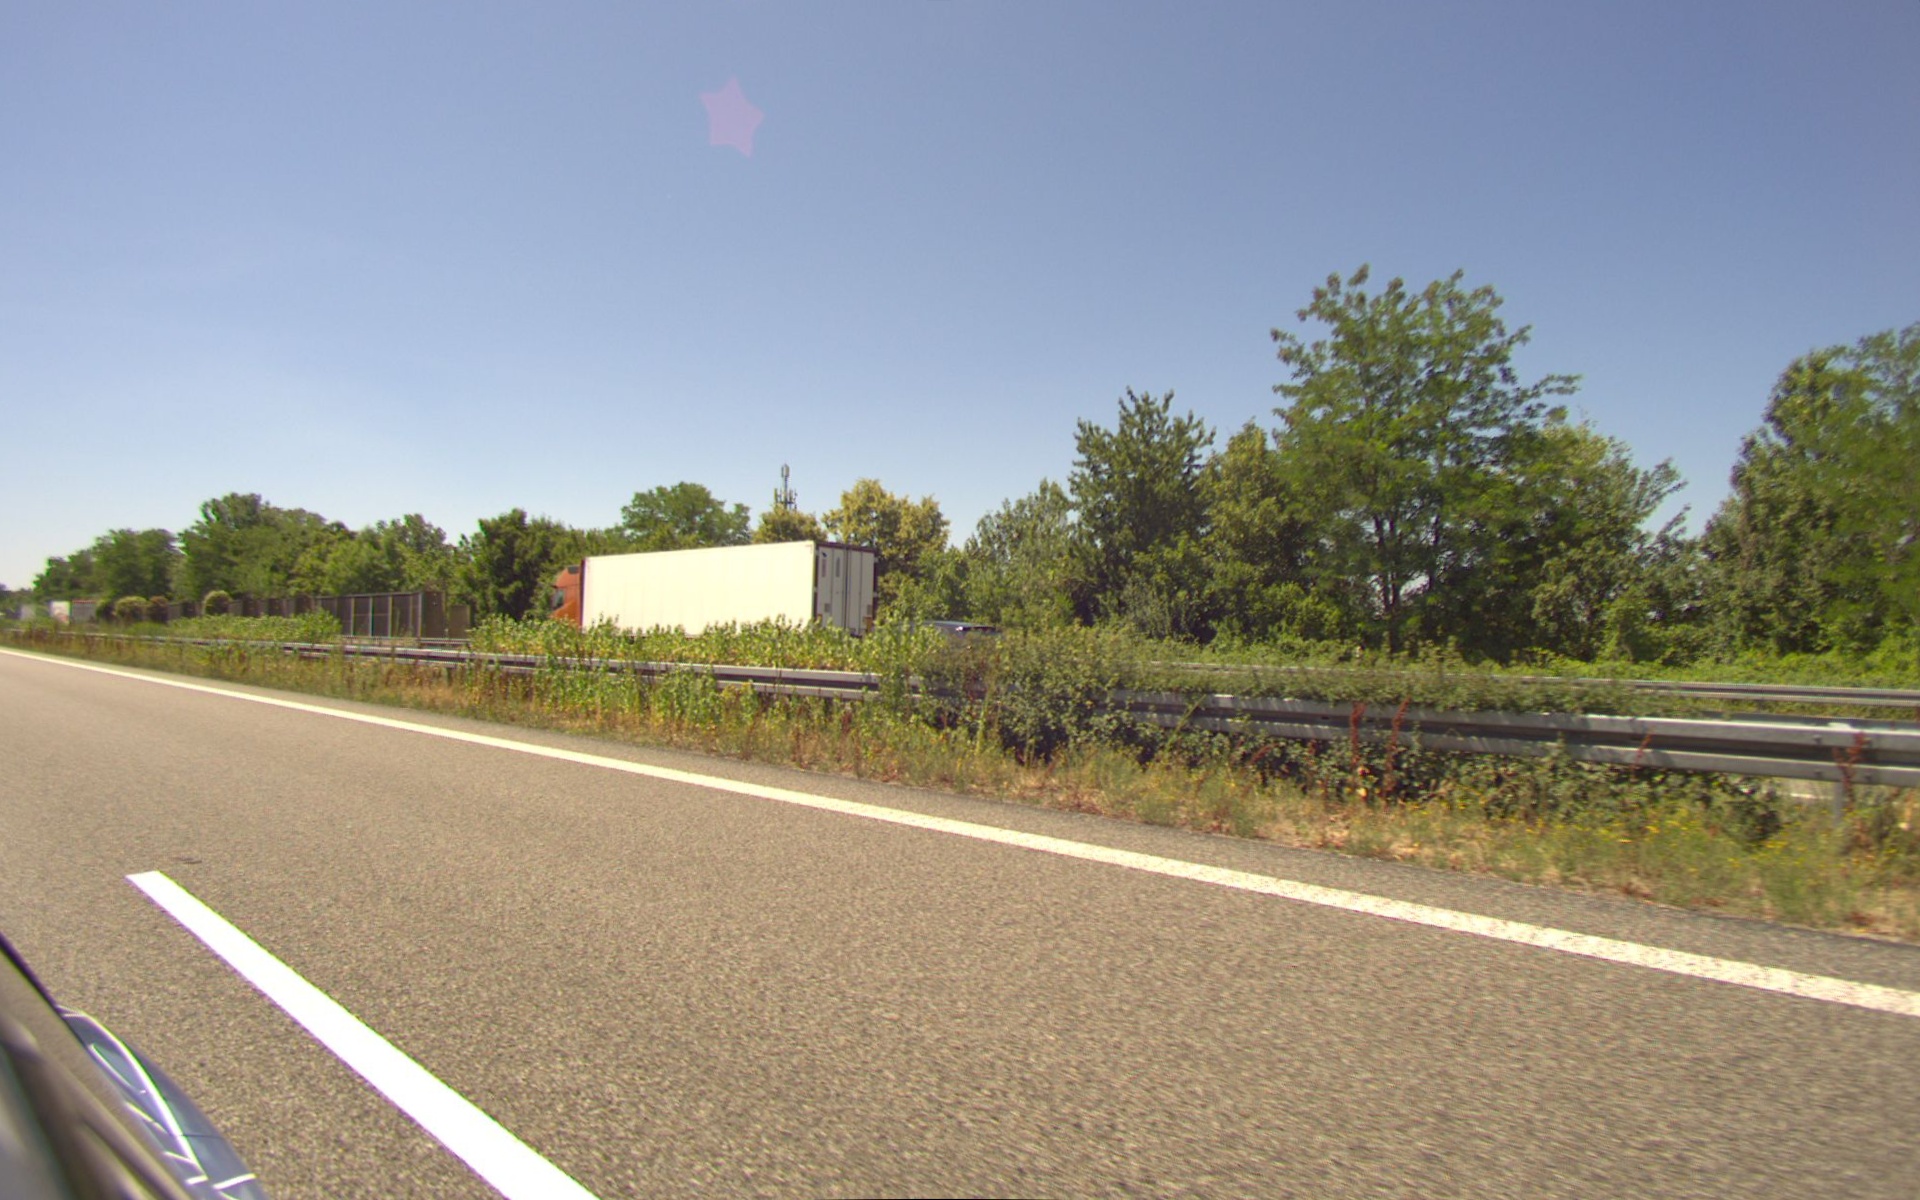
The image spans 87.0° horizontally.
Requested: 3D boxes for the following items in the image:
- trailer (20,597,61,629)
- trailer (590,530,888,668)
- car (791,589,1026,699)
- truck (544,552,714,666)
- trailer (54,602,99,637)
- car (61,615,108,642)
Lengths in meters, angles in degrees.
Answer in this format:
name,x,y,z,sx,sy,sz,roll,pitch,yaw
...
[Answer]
name,x,y,z,sx,sy,sz,roll,pitch,yaw
trailer,-133.909,1.963,147.239,12.949,4.512,3.133,-1,-1,42
trailer,-7.991,0.131,34.421,13.061,3.965,2.703,-1,-4,42
car,-0.985,0.743,17.839,3.999,1.717,1.823,-2,-2,42
truck,-12.802,0.431,38.806,7.413,3.965,2.703,-1,-4,42
trailer,-109.094,2.440,124.872,12.217,4.205,2.812,-2,-1,42
car,-60.178,1.974,69.554,3.999,1.717,1.972,-2,-2,42
